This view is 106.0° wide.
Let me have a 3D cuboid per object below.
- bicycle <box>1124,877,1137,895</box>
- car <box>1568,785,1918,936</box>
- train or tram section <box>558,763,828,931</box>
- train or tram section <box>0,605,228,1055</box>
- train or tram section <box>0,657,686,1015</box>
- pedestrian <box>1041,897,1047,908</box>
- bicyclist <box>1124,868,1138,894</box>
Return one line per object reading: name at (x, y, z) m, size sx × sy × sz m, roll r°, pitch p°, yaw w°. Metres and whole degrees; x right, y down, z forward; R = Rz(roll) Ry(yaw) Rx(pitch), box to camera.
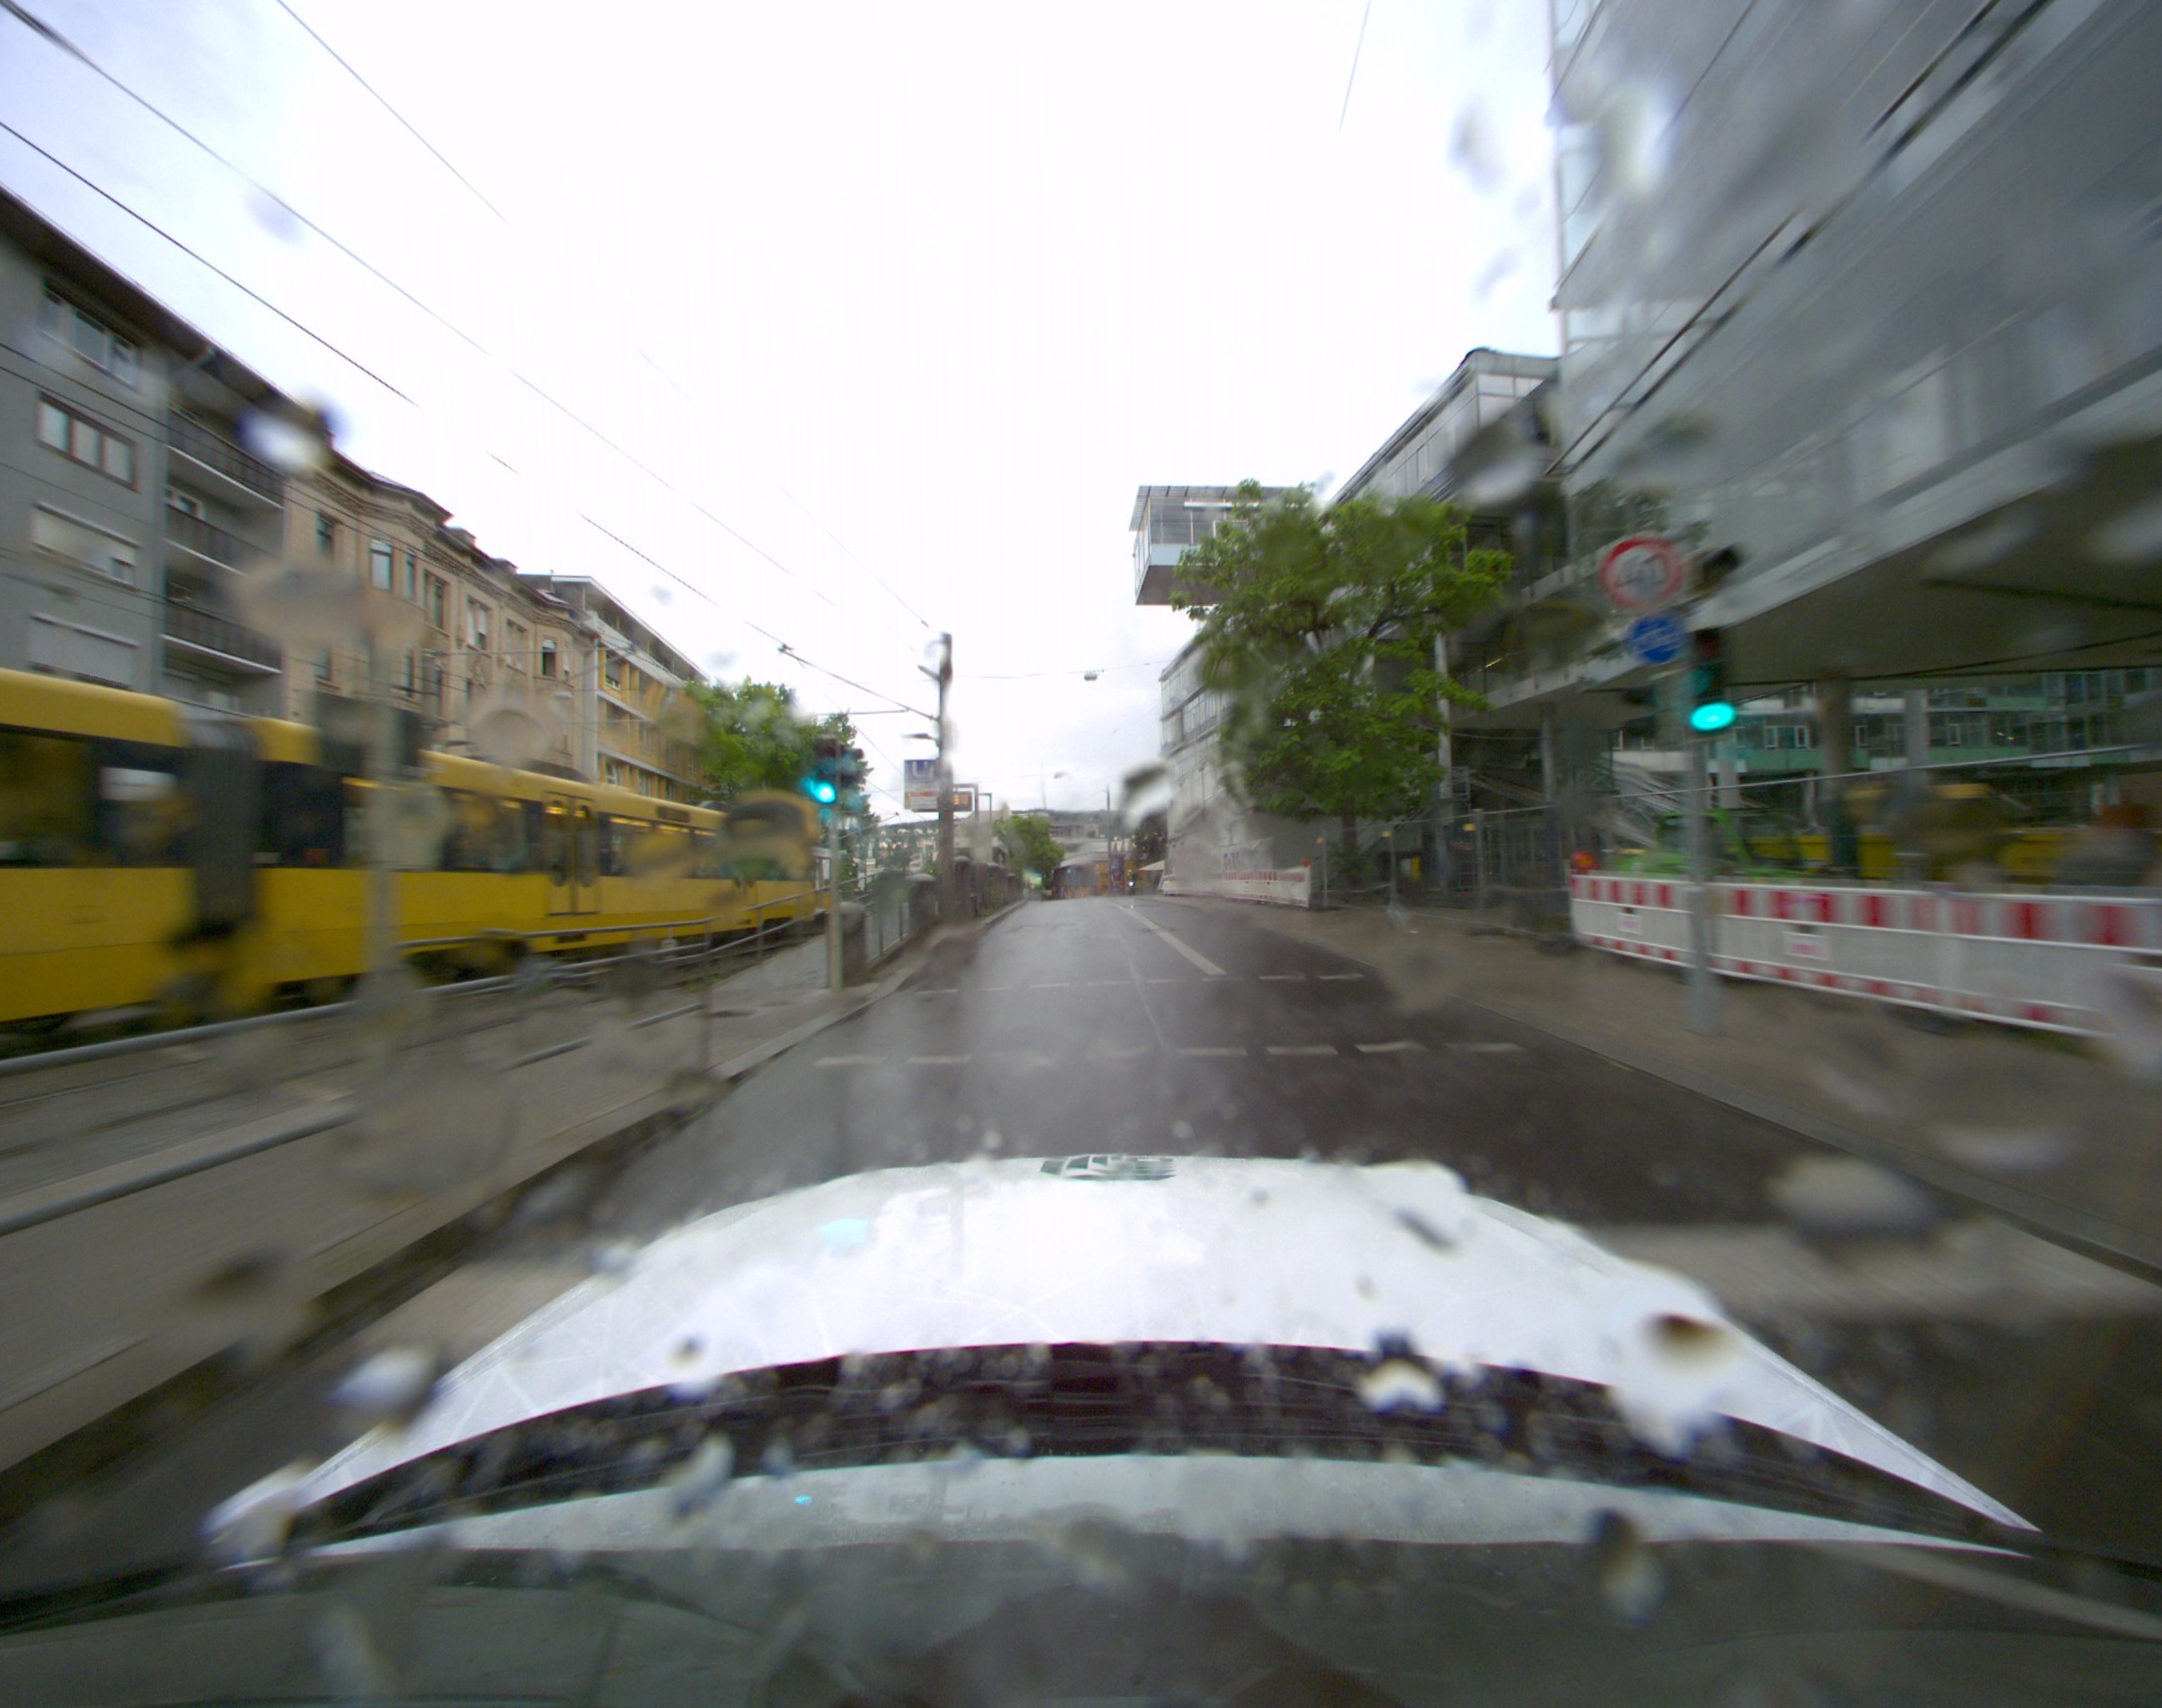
bicycle at (3.205, 2.095, 52.897) m, size 0.660 × 1.053 × 2.055 m, roll -4°, pitch -3°, yaw -1°
car at (10.230, 0.097, 13.123) m, size 2.006 × 1.982 × 4.194 m, roll -2°, pitch -1°, yaw -5°
train or tram section at (-10.087, -0.142, 22.835) m, size 2.769 × 3.692 × 9.715 m, roll -1°, pitch 0°, yaw 1°
train or tram section at (-10.299, -0.197, 3.674) m, size 2.769 × 3.692 × 9.511 m, roll -1°, pitch 0°, yaw 1°
train or tram section at (-10.193, -0.169, 13.215) m, size 2.769 × 3.692 × 9.511 m, roll -1°, pitch 0°, yaw 1°
pedestrian at (-6.285, 8.266, 138.317) m, size 0.807 × 1.865 × 1.052 m, roll -3°, pitch -4°, yaw -10°
bicyclist at (3.239, 1.768, 52.922) m, size 0.660 × 1.639 × 0.792 m, roll -6°, pitch -3°, yaw -2°
